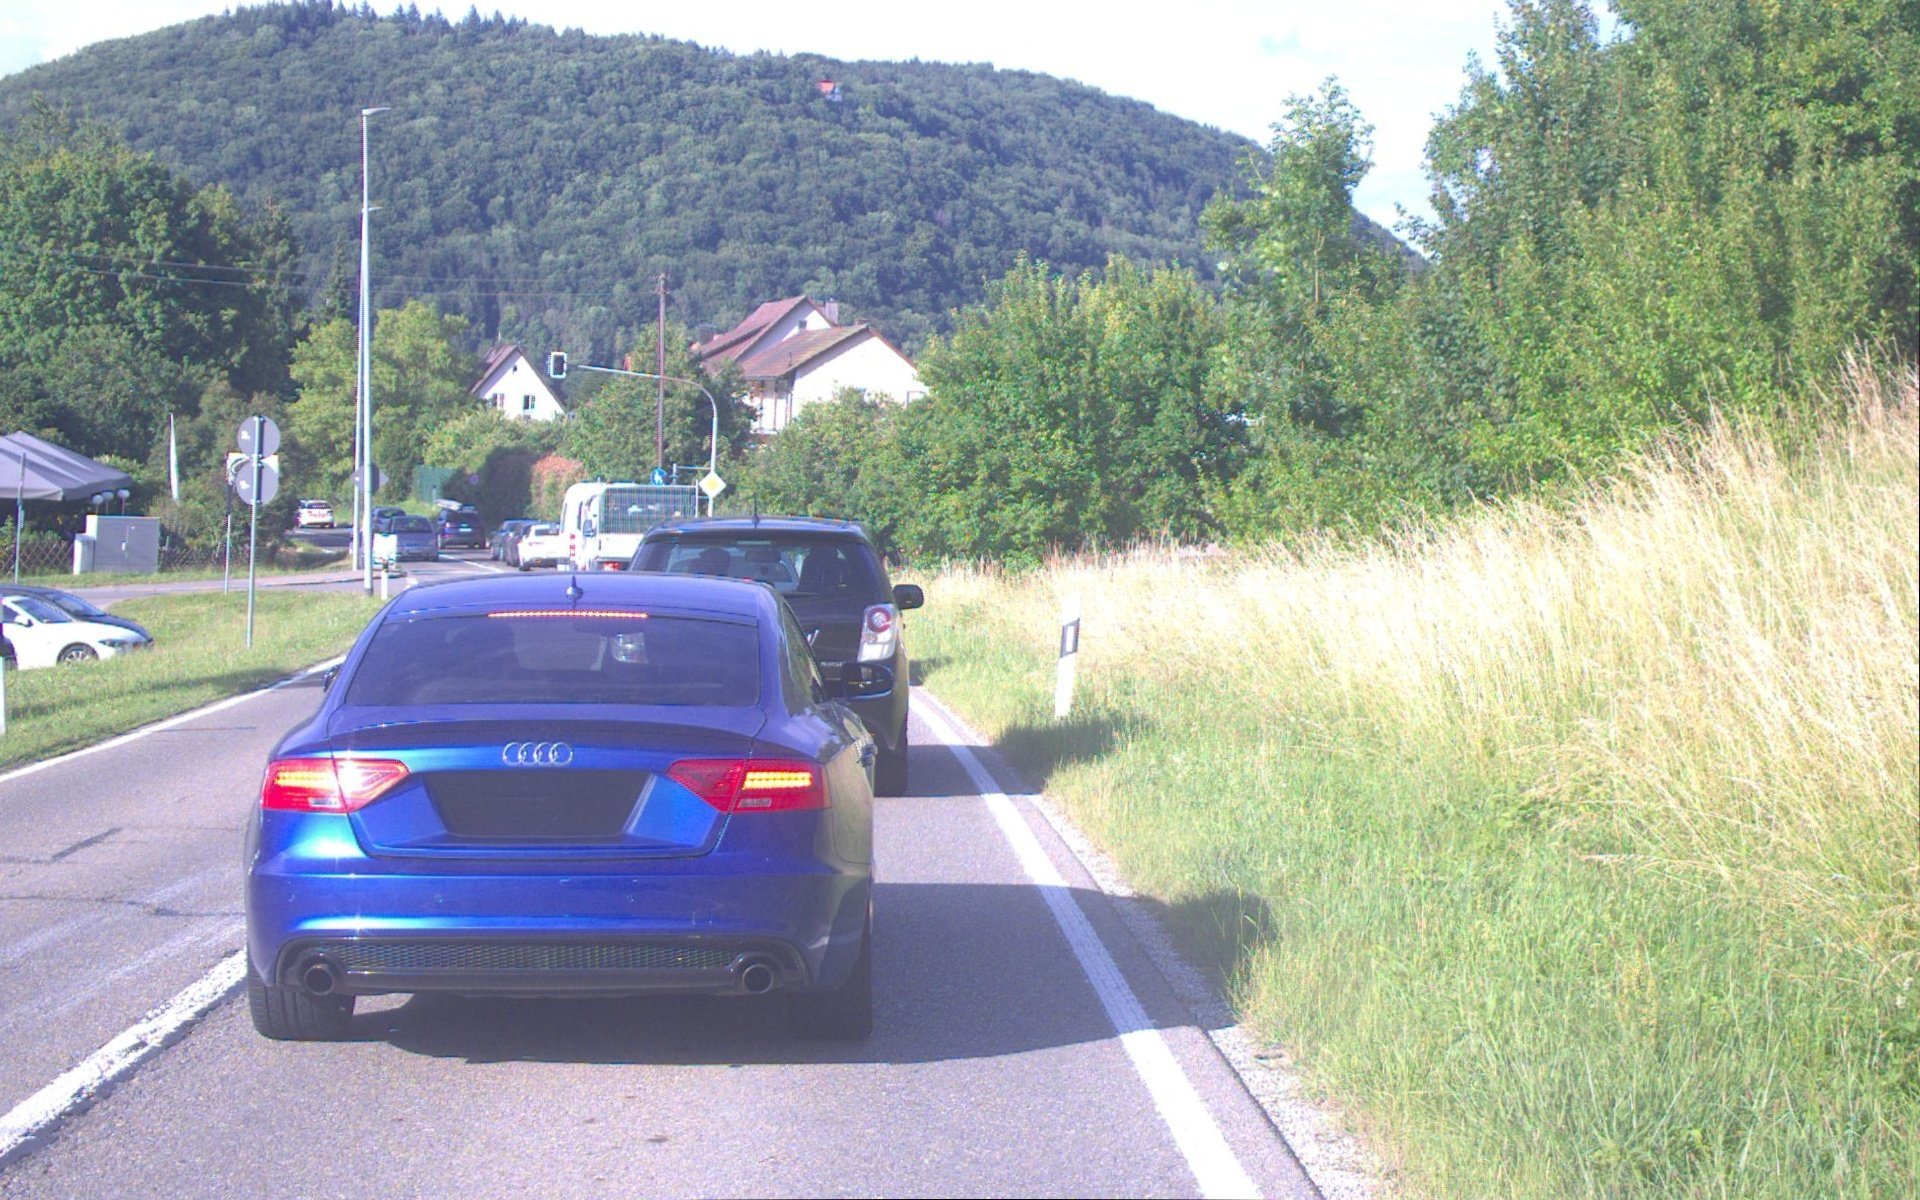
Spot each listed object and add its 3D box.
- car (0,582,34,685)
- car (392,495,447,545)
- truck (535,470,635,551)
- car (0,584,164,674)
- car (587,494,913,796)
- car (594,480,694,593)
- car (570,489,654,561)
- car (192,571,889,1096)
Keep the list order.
[{"bbox_3d":[-17.305,0.511,55.591,4.026,1.631,1.999,1,1,7],"label":"car"},{"bbox_3d":[-18.473,-2.730,117.451,1.734,1.656,3.472,1,1,-10],"label":"car"},{"bbox_3d":[-9.522,-2.235,86.971,1.697,1.947,5.924,1,1,-14],"label":"truck"},{"bbox_3d":[-16.589,0.469,60.131,4.815,1.488,1.880,1,1,7],"label":"car"},{"bbox_3d":[-1.180,0.226,20.907,1.746,1.634,4.000,1,1,0],"label":"car"},{"bbox_3d":[-6.389,-1.272,69.213,1.745,2.188,4.001,1,1,-9],"label":"car"},{"bbox_3d":[-8.292,-1.759,81.642,1.745,1.634,4.001,1,1,-9],"label":"car"},{"bbox_3d":[-1.155,0.603,11.132,1.795,1.383,4.000,0,1,0],"label":"car"}]
